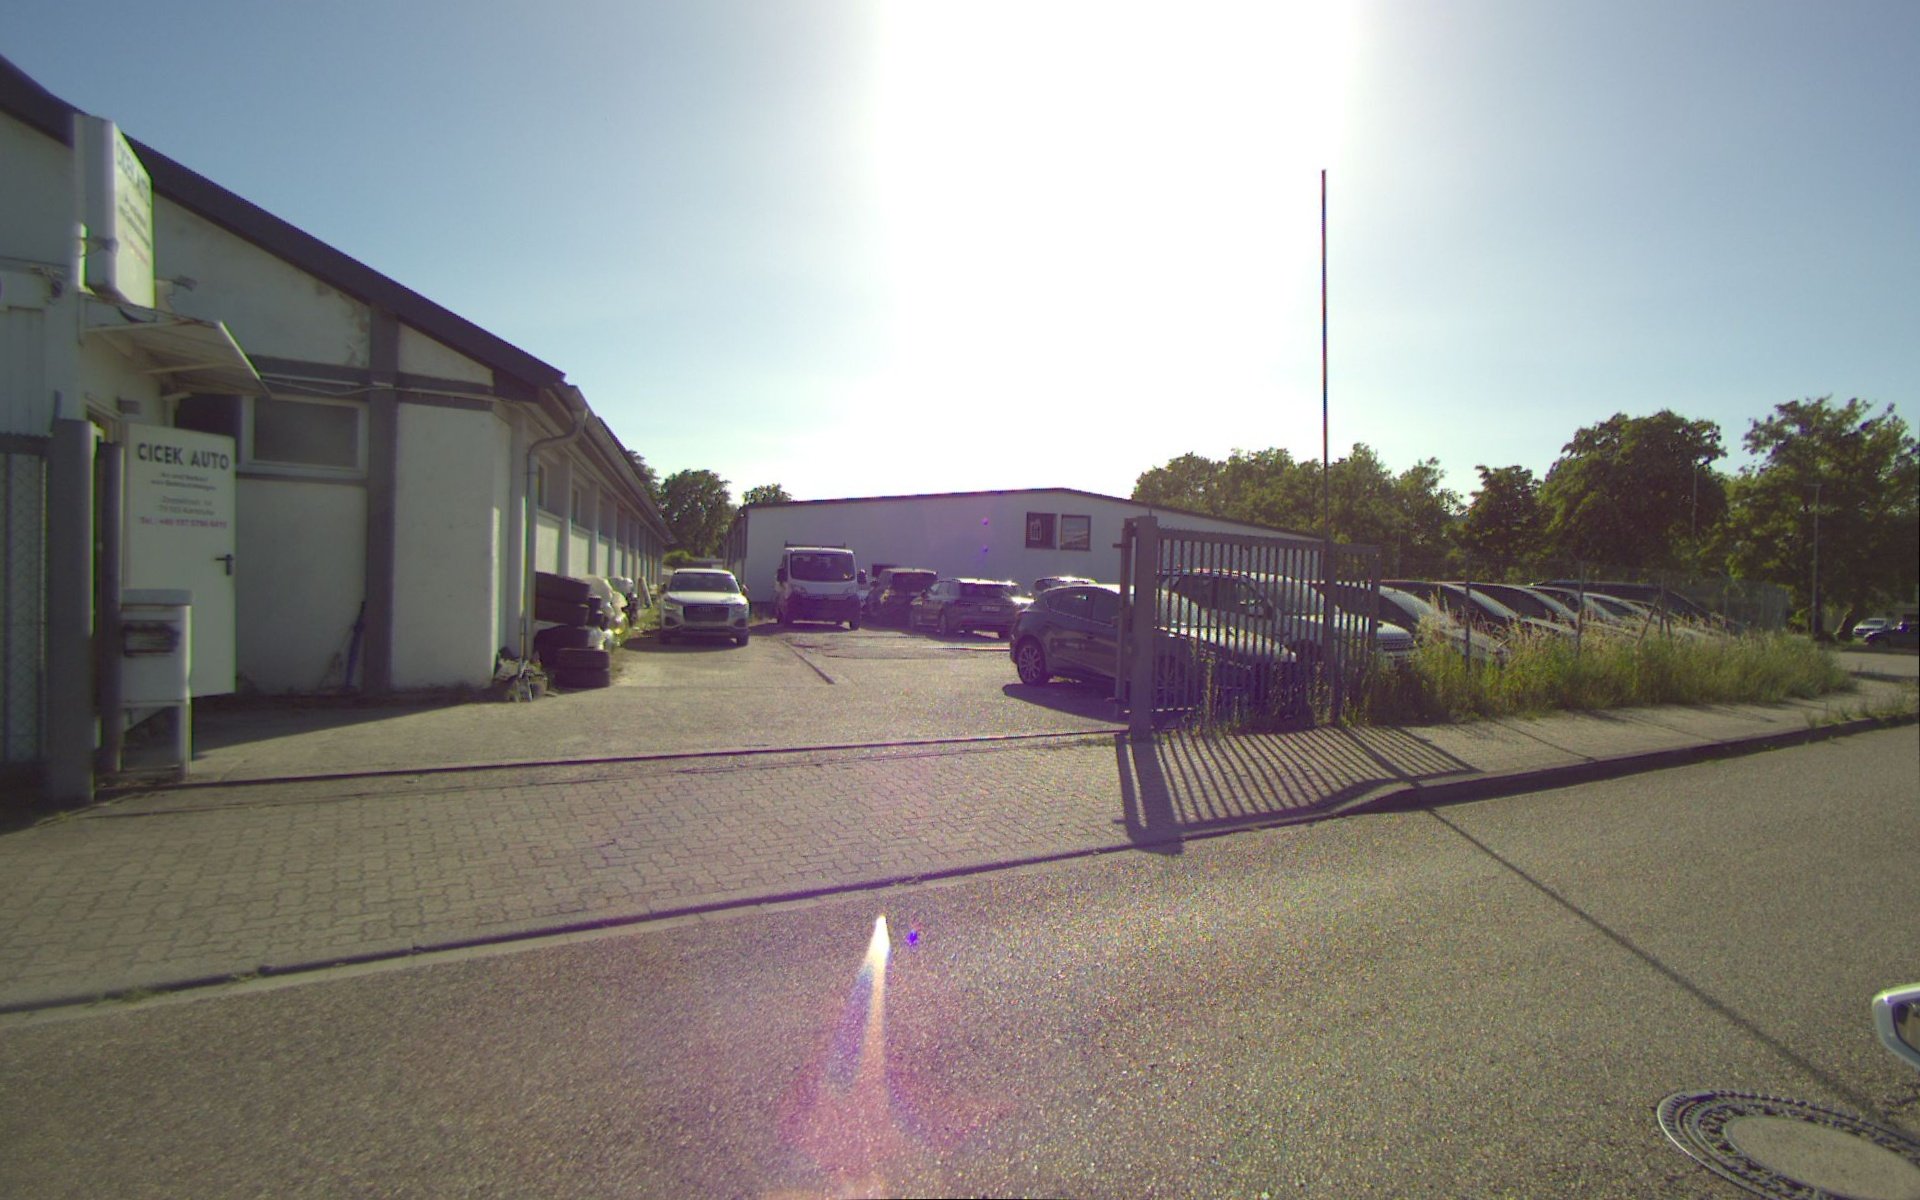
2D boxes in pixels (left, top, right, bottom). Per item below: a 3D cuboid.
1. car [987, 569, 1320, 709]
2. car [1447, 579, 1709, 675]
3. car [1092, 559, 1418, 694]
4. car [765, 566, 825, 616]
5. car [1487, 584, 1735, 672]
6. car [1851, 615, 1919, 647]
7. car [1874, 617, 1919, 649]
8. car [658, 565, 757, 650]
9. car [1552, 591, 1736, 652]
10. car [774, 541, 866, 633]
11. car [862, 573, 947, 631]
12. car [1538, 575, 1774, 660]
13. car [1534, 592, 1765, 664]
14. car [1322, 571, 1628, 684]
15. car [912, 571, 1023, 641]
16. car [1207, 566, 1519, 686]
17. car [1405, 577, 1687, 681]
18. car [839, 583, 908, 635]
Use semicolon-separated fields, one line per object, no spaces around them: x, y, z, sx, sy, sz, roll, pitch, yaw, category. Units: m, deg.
2.349;0.388;13.350;1.821;1.527;4.363;1;1;-33;car
12.421;0.473;20.462;4.326;1.671;1.836;2;1;31;car
4.153;0.283;14.796;1.823;1.671;4.357;1;1;-37;car
-6.031;-0.341;36.358;1.809;1.671;4.391;2;1;-14;car
14.366;0.553;22.324;4.341;1.671;1.830;3;1;43;car
46.517;1.555;48.472;1.975;1.445;4.891;1;1;-27;car
48.783;1.719;49.679;1.975;1.504;4.891;1;1;-27;car
-5.366;0.104;21.467;1.809;1.583;4.391;2;1;-14;car
21.130;0.645;31.199;4.314;1.671;1.841;2;1;9;car
-4.143;-0.449;28.840;2.074;2.302;5.747;2;2;-13;car
-1.786;0.021;30.813;1.809;1.583;4.391;2;1;-14;car
17.897;0.400;26.155;4.761;1.918;1.838;2;1;27;car
16.442;0.620;24.251;4.322;1.456;1.838;2;1;26;car
8.791;0.389;17.447;1.827;1.671;4.349;1;1;-42;car
0.077;0.105;25.755;1.809;1.583;4.391;2;1;-14;car
6.379;0.321;16.345;1.825;1.671;4.353;1;1;-39;car
10.866;0.472;18.882;4.326;1.671;1.836;2;1;31;car
-3.169;0.273;36.065;1.809;1.671;4.391;2;1;-14;car
